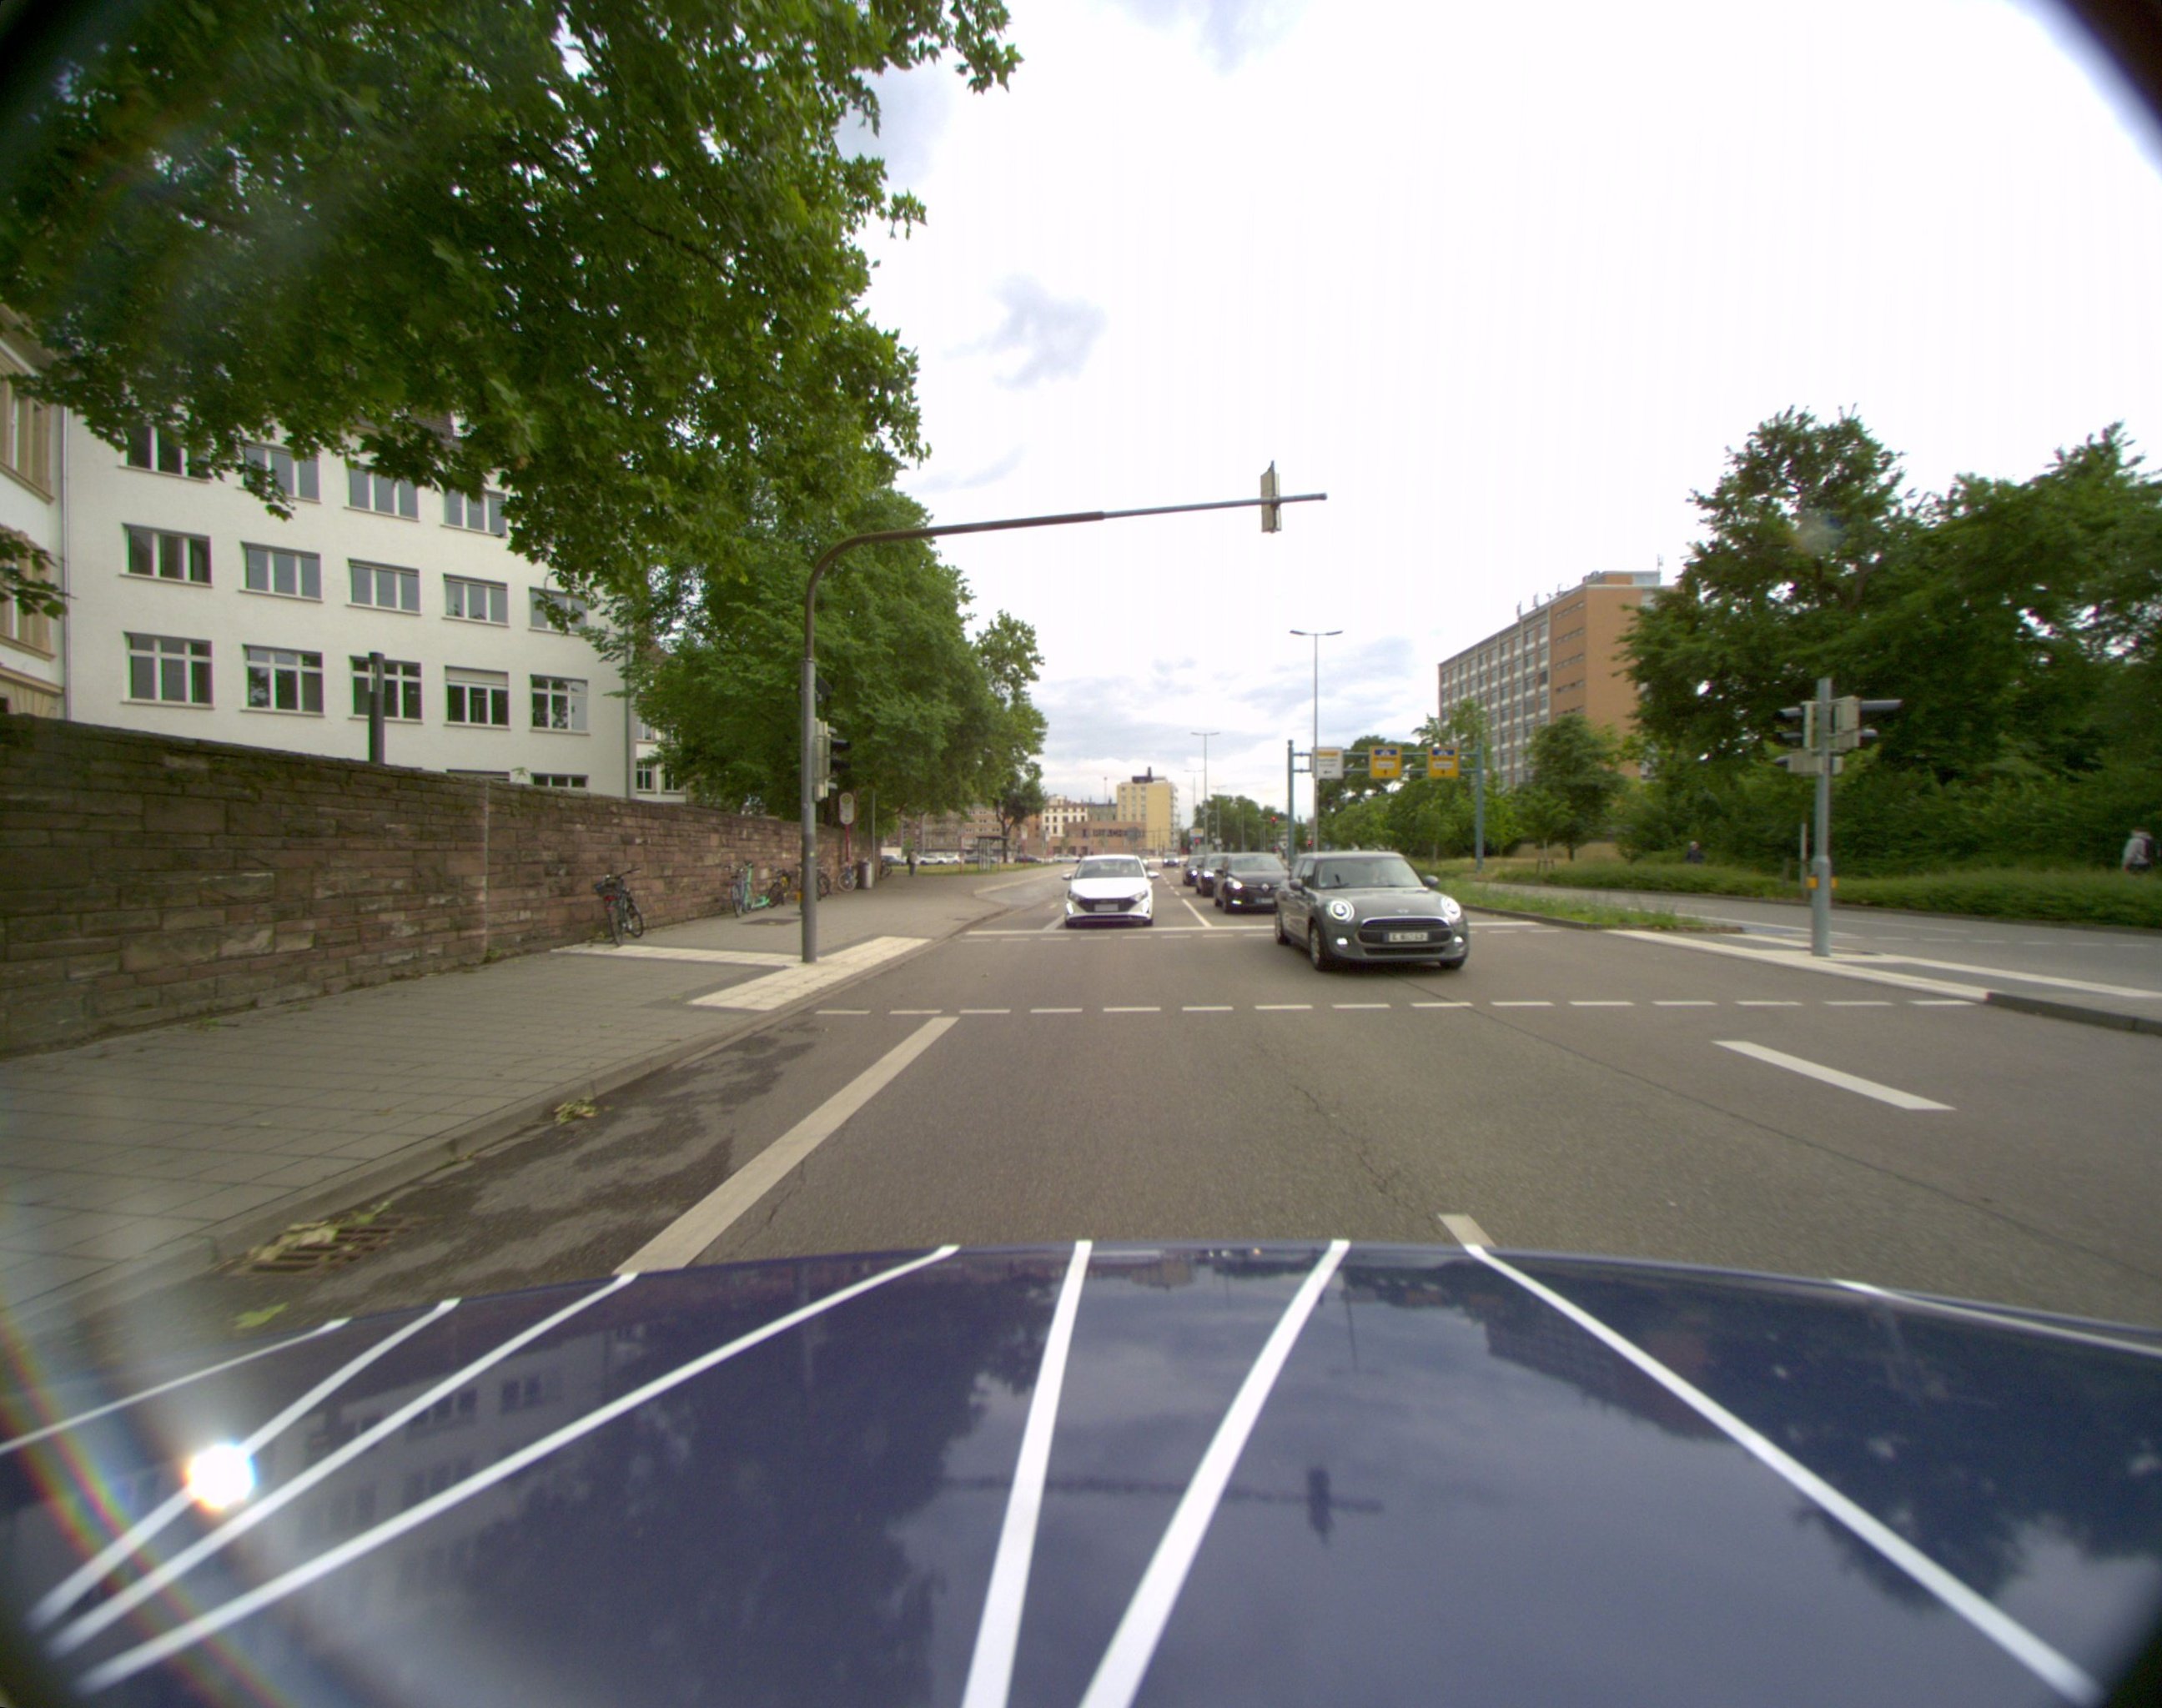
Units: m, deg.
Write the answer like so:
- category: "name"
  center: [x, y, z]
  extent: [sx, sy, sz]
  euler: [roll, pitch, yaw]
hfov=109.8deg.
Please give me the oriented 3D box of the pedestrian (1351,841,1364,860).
- category: "pedestrian"
  center: [29.764, -0.387, 81.845]
  extent: [0.882, 2.002, 1.221]
  euler: [-2, 1, -3]

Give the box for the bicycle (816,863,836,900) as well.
- category: "bicycle"
  center: [-8.139, 0.857, 24.306]
  extent: [0.339, 1.137, 1.676]
  euler: [-2, 1, -11]

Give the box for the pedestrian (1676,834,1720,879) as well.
- category: "pedestrian"
  center: [23.126, 0.088, 28.488]
  extent: [0.990, 1.616, 0.813]
  euler: [-2, 1, 2]

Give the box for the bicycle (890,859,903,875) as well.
- category: "bicycle"
  center: [-11.632, 0.830, 47.868]
  extent: [0.655, 0.934, 1.954]
  euler: [0, 1, -18]

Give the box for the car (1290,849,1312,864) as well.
- category: "car"
  center: [22.854, 0.254, 79.059]
  extent: [1.853, 1.543, 4.003]
  euler: [-1, 1, 11]

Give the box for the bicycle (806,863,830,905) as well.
- category: "bicycle"
  center: [-7.762, 0.857, 22.479]
  extent: [0.339, 1.137, 1.940]
  euler: [-2, 1, -11]

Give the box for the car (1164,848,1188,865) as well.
- category: "car"
  center: [9.433, 0.258, 75.477]
  extent: [1.998, 1.536, 4.000]
  euler: [-2, 0, 3]

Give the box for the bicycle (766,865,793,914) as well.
- category: "bicycle"
  center: [-7.656, 0.876, 19.351]
  extent: [0.386, 1.137, 1.939]
  euler: [-2, 1, -16]

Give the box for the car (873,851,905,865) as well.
- category: "car"
  center: [-29.247, 0.608, 115.566]
  extent: [4.282, 2.002, 2.000]
  euler: [-2, 1, 1]

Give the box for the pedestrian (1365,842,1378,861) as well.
- category: "pedestrian"
  center: [30.716, -0.276, 80.325]
  extent: [0.882, 2.002, 1.221]
  euler: [-2, 1, -3]

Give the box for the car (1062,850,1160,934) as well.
- category: "car"
  center: [0.714, 0.688, 16.011]
  extent: [1.813, 1.533, 4.001]
  euler: [0, 1, 5]

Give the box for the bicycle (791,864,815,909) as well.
- category: "bicycle"
  center: [-7.646, 0.865, 20.853]
  extent: [0.387, 1.137, 1.938]
  euler: [-2, 1, -26]

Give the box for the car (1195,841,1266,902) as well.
- category: "car"
  center: [5.173, 0.552, 26.798]
  extent: [1.998, 2.002, 4.001]
  euler: [0, 1, 5]

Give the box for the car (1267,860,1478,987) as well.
- category: "car"
  center: [3.604, 0.762, 10.089]
  extent: [1.624, 1.310, 3.706]
  euler: [0, 1, 5]

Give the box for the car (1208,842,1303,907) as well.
- category: "car"
  center: [4.184, 0.437, 18.825]
  extent: [1.731, 1.450, 4.001]
  euler: [0, 1, 5]

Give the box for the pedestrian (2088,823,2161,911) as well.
- category: "pedestrian"
  center: [25.015, 0.292, 18.097]
  extent: [0.908, 2.003, 0.822]
  euler: [-2, 3, 9]

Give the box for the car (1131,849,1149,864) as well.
- category: "car"
  center: [5.749, 0.261, 73.903]
  extent: [1.605, 1.360, 3.579]
  euler: [-1, 0, 3]

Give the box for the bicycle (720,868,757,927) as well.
- category: "bicycle"
  center: [-7.280, 0.886, 16.198]
  extent: [0.386, 1.137, 1.939]
  euler: [-2, 1, -16]

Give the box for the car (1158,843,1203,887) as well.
- category: "car"
  center: [4.767, 0.493, 36.851]
  extent: [1.998, 2.002, 4.001]
  euler: [0, 1, 5]

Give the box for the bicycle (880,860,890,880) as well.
- category: "bicycle"
  center: [-9.882, 0.789, 38.281]
  extent: [0.365, 0.934, 1.638]
  euler: [0, 1, -18]

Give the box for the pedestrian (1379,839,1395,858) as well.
- category: "pedestrian"
  center: [30.338, -0.544, 75.380]
  extent: [1.137, 1.908, 1.163]
  euler: [-2, 1, 8]

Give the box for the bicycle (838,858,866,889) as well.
- category: "bicycle"
  center: [-8.316, 0.697, 27.639]
  extent: [0.478, 1.070, 2.082]
  euler: [0, 1, -3]

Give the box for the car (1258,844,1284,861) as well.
- category: "car"
  center: [20.040, -0.188, 80.245]
  extent: [1.893, 1.763, 4.000]
  euler: [-2, 1, 3]

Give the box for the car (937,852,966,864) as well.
- category: "car"
  center: [-19.636, 0.568, 115.211]
  extent: [3.997, 1.760, 1.999]
  euler: [0, 1, -1]

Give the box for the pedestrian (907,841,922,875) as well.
- category: "pedestrian"
  center: [-10.103, 0.240, 46.118]
  extent: [0.784, 2.002, 0.887]
  euler: [1, 2, -15]

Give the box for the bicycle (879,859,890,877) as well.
- category: "bicycle"
  center: [-10.942, 0.752, 42.378]
  extent: [0.482, 0.934, 1.896]
  euler: [0, 1, -18]
